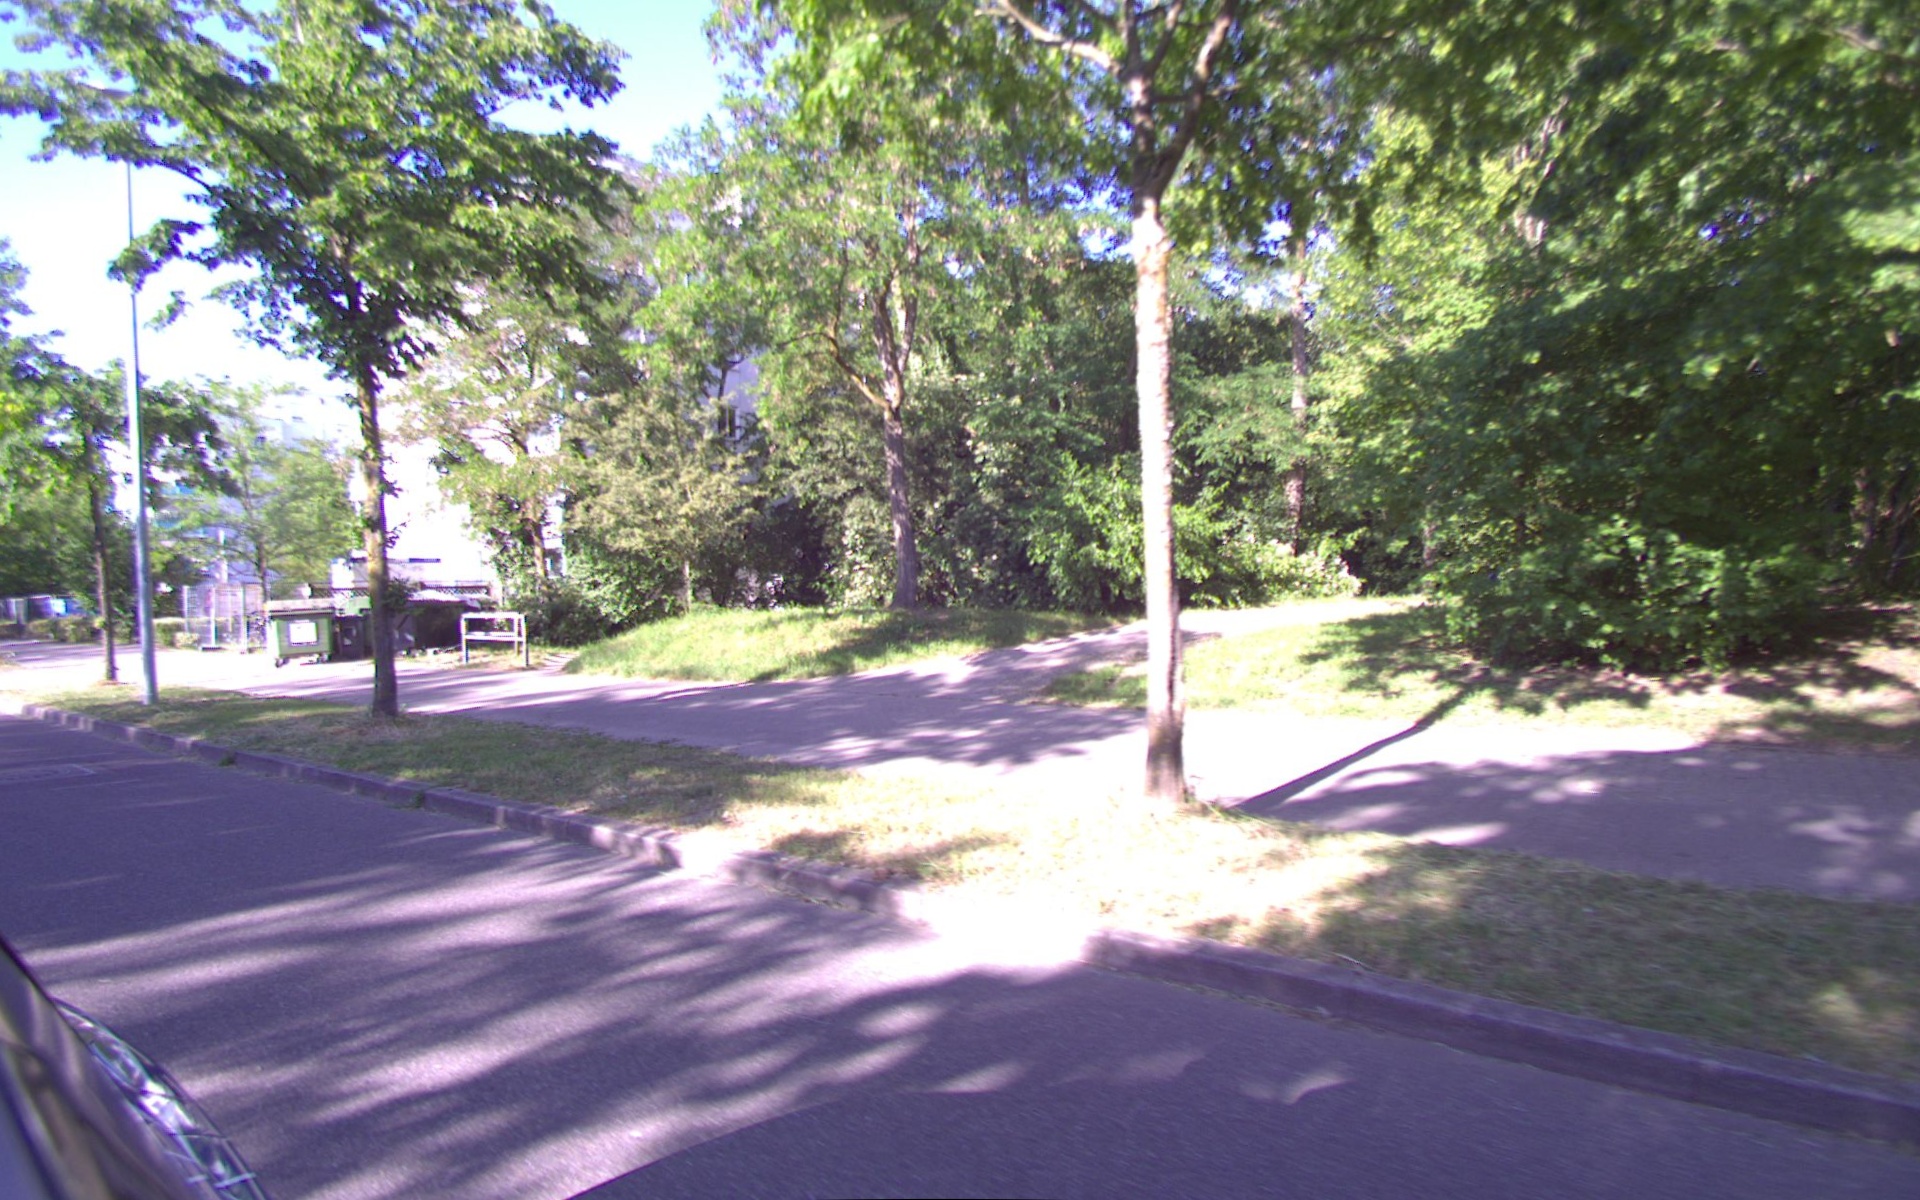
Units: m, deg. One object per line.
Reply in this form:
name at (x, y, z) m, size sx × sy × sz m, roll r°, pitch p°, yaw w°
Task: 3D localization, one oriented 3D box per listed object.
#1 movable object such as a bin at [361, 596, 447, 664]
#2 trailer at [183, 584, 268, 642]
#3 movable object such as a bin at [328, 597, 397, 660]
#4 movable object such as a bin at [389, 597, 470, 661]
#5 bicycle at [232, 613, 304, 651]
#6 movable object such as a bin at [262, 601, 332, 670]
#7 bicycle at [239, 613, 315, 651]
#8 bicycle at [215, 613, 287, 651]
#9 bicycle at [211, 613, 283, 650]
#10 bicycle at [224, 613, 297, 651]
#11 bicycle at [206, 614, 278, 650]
movable object such as a bin at (-12.463, 0.654, 22.731) m, size 1.257 × 1.446 × 1.143 m, roll -1°, pitch 0°, yaw 5°
trailer at (-29.624, 0.518, 40.792) m, size 4.345 × 2.136 × 1.844 m, roll -1°, pitch 2°, yaw 43°
movable object such as a bin at (-14.545, 0.681, 24.691) m, size 1.251 × 1.446 × 1.330 m, roll -1°, pitch 0°, yaw -23°
movable object such as a bin at (-12.526, 0.668, 23.943) m, size 1.257 × 1.446 × 1.143 m, roll -1°, pitch 0°, yaw 5°
bicycle at (-20.755, 0.946, 30.394) m, size 0.398 × 1.034 × 1.828 m, roll -1°, pitch 1°, yaw 26°
movable object such as a bin at (-14.777, 0.771, 22.551) m, size 1.252 × 1.446 × 1.184 m, roll -1°, pitch 0°, yaw -35°
bicycle at (-20.335, 0.943, 30.176) m, size 0.398 × 1.034 × 1.904 m, roll -1°, pitch 1°, yaw 26°
bicycle at (-21.561, 0.958, 30.814) m, size 0.398 × 1.034 × 1.828 m, roll -1°, pitch 1°, yaw 26°
bicycle at (-21.911, 0.960, 31.133) m, size 0.398 × 1.034 × 1.845 m, roll -1°, pitch 1°, yaw 26°
bicycle at (-21.127, 0.954, 30.602) m, size 0.398 × 1.034 × 1.849 m, roll -1°, pitch 1°, yaw 26°
bicycle at (-22.557, 0.987, 31.832) m, size 0.398 × 1.034 × 1.859 m, roll -1°, pitch 1°, yaw 26°
